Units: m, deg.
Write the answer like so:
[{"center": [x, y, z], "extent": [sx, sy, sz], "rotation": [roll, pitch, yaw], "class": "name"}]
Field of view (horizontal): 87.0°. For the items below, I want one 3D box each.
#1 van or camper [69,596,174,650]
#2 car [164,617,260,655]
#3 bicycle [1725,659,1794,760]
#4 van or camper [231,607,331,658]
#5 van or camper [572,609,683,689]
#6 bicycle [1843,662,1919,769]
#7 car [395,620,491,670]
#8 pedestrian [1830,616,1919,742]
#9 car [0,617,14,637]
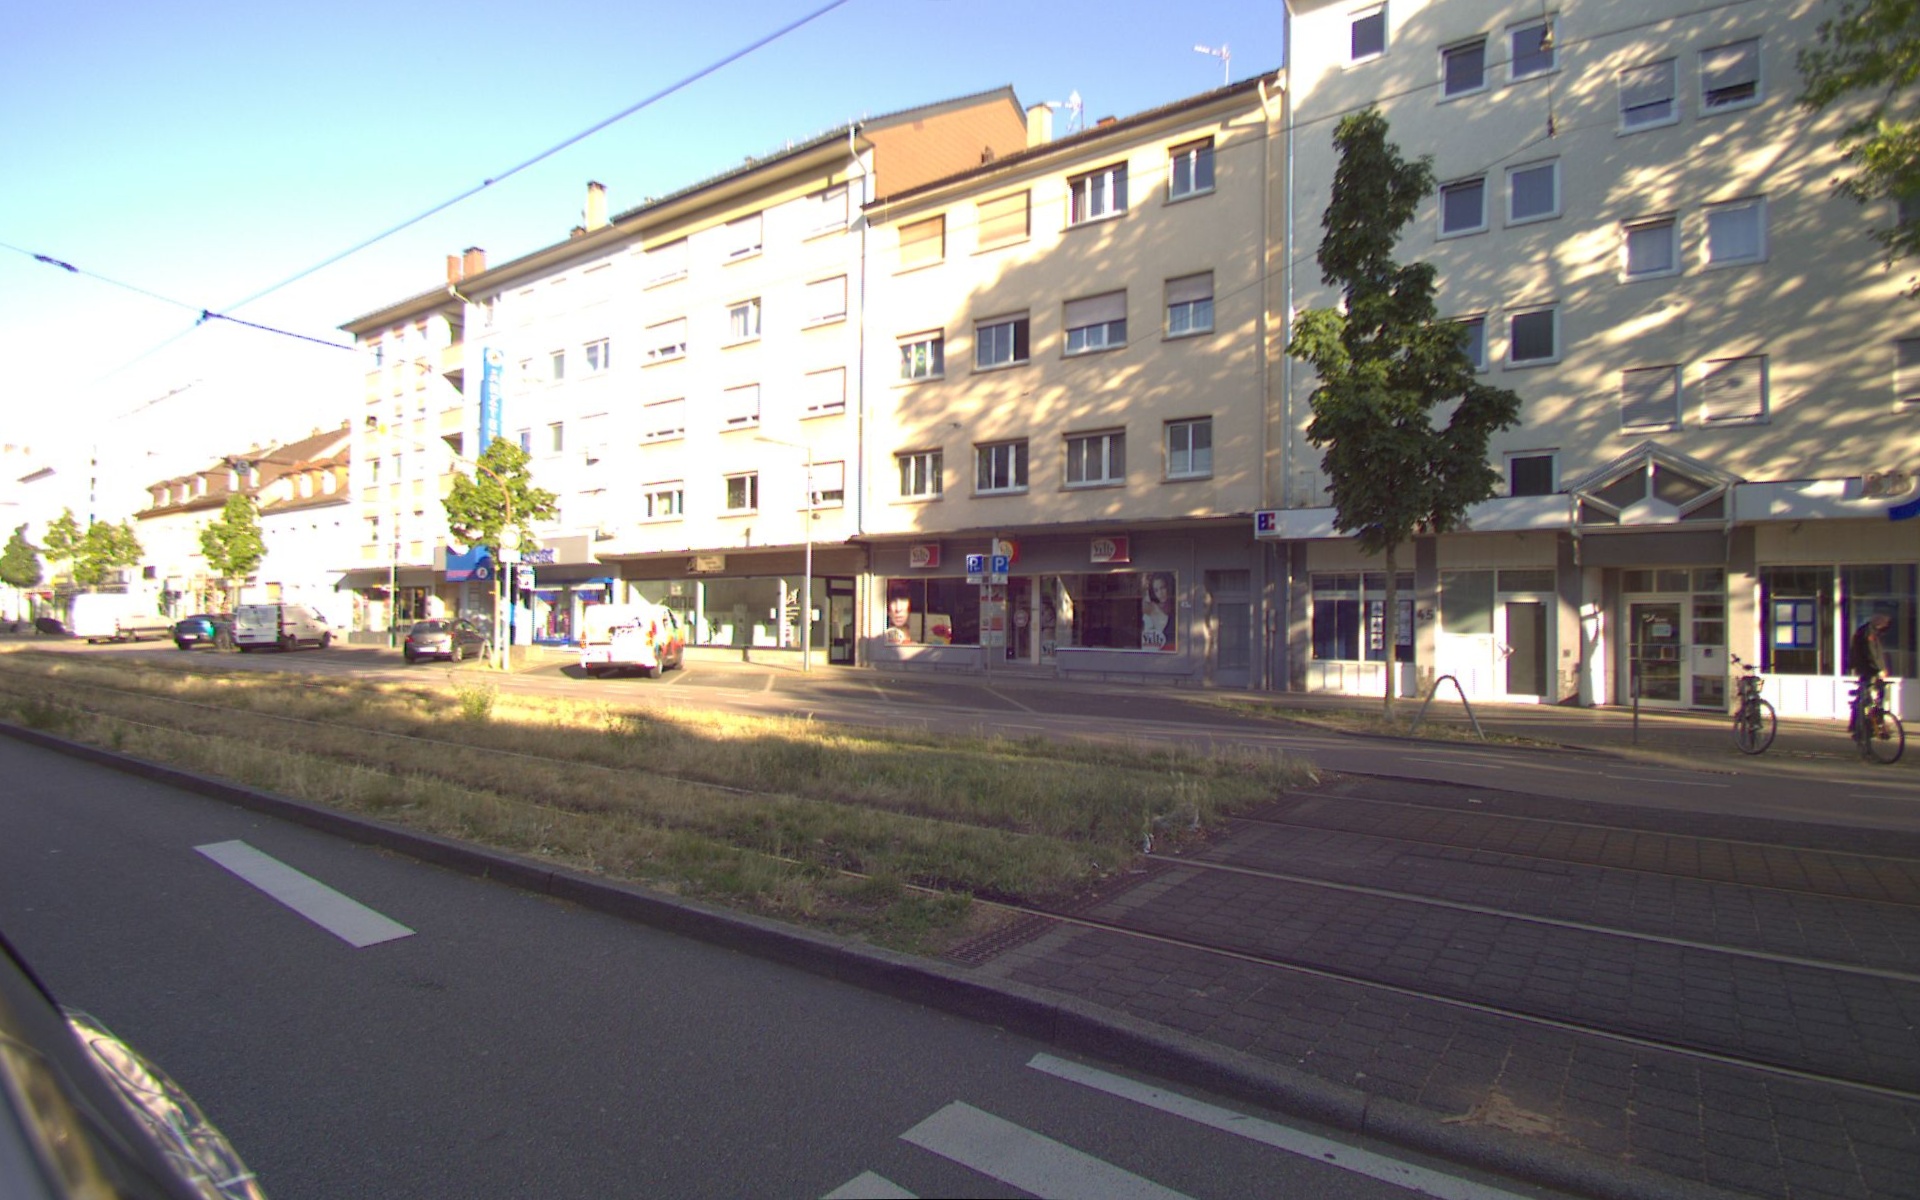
[{"center": [-45.397, 1.184, 55.014], "extent": [1.966, 2.687, 6.417], "rotation": [-1, 0, -16], "class": "van or camper"}, {"center": [-34.311, 1.617, 46.577], "extent": [1.850, 1.598, 4.007], "rotation": [-1, 0, -7], "class": "car"}, {"center": [10.360, 1.381, 13.160], "extent": [0.533, 1.133, 1.878], "rotation": [-1, -1, 34], "class": "bicycle"}, {"center": [-28.577, 1.319, 42.756], "extent": [1.771, 2.004, 4.460], "rotation": [-1, 0, -9], "class": "van or camper"}, {"center": [-8.898, 1.229, 27.494], "extent": [1.921, 1.912, 4.822], "rotation": [-1, 0, -6], "class": "van or camper"}, {"center": [11.385, 1.375, 12.442], "extent": [0.533, 1.133, 1.878], "rotation": [-1, -1, 34], "class": "bicycle"}, {"center": [-17.624, 1.470, 34.703], "extent": [1.741, 1.501, 4.461], "rotation": [-1, 0, -11], "class": "car"}, {"center": [13.567, 1.139, 15.019], "extent": [0.970, 1.801, 0.612], "rotation": [-1, 0, 41], "class": "pedestrian"}, {"center": [-73.410, 2.055, 75.450], "extent": [1.752, 1.501, 3.899], "rotation": [-1, 0, 13], "class": "car"}]
